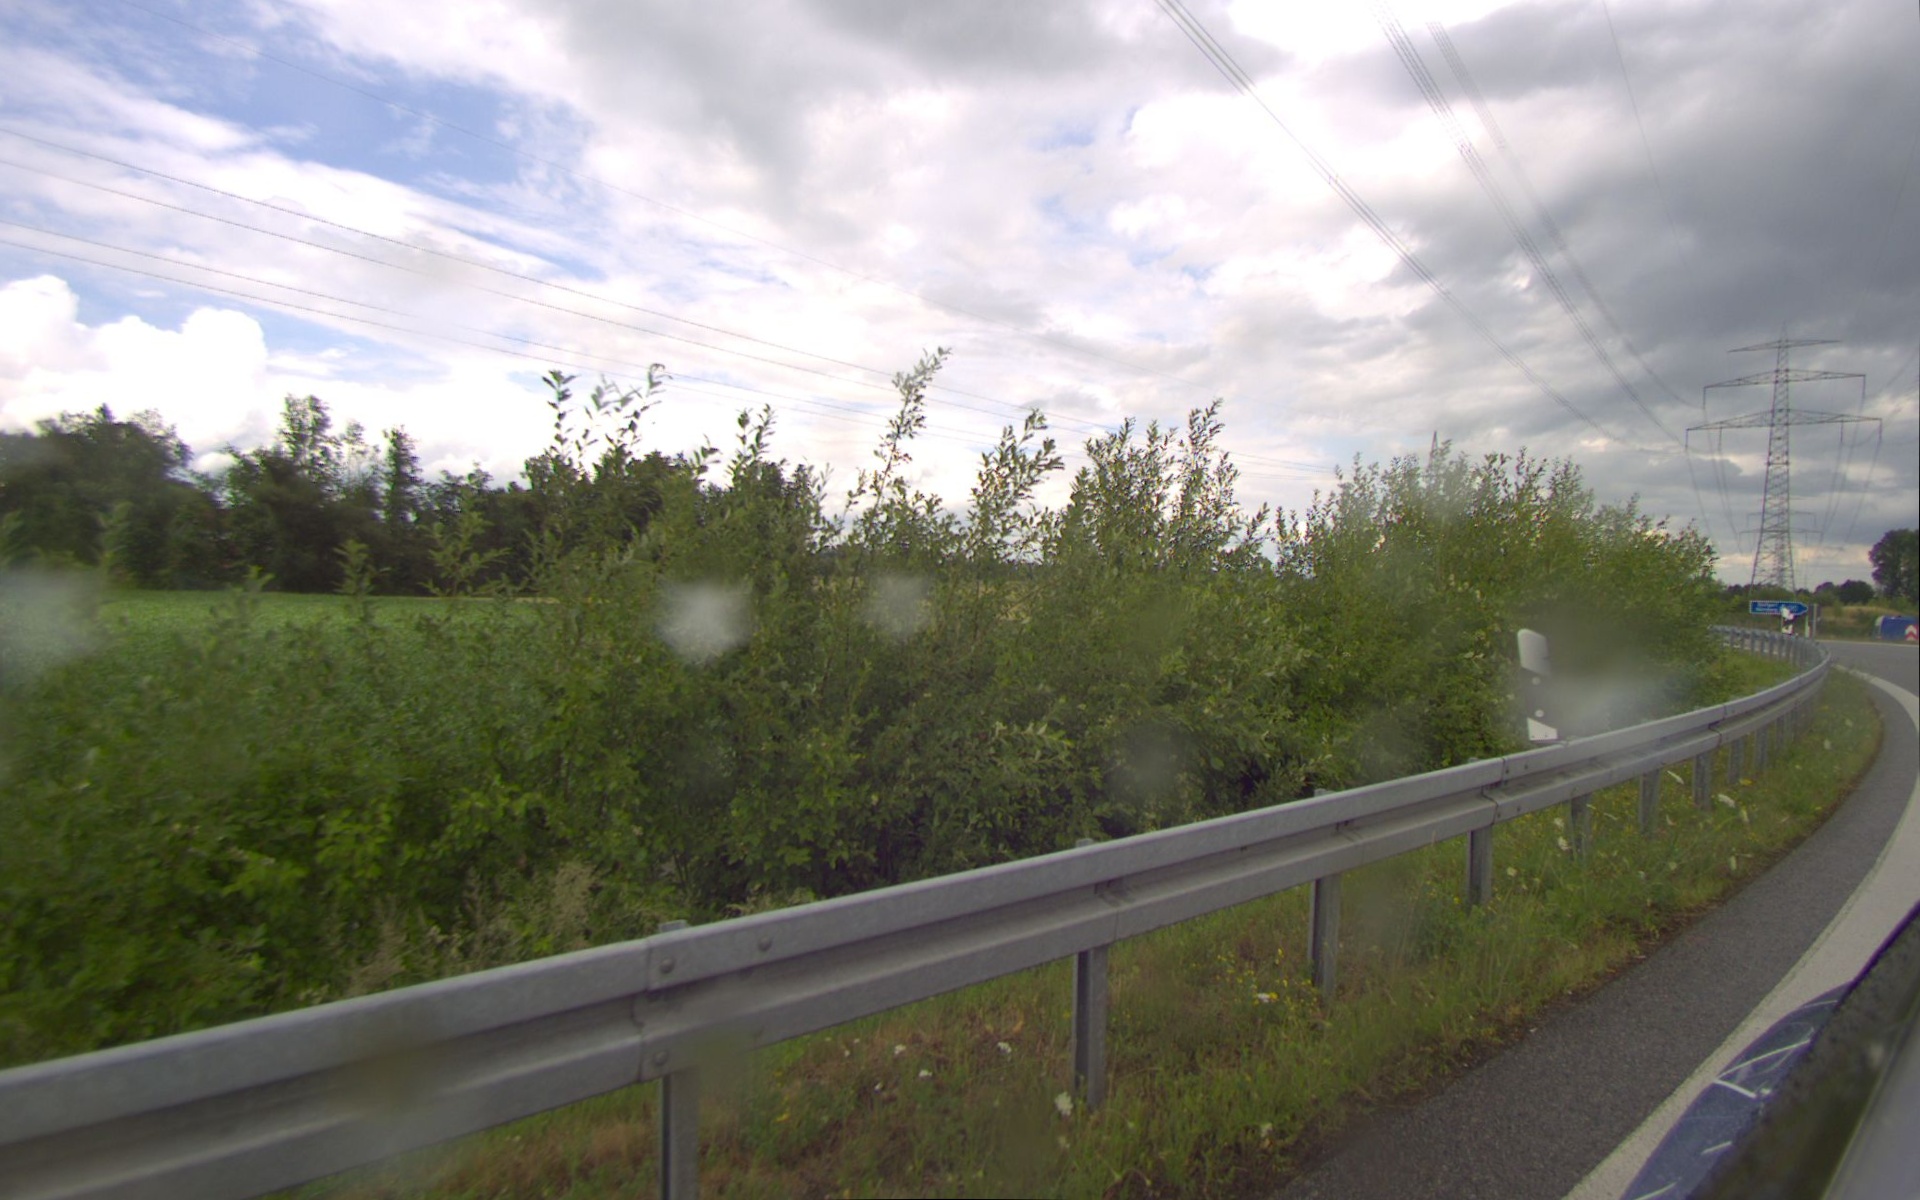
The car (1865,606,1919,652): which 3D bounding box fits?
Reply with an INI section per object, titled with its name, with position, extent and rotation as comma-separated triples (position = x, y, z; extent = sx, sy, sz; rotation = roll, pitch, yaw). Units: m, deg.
[car]
position = 61.815, 1.889, 66.666
extent = 2.318, 2.760, 6.205
rotation = 3, 1, 34
